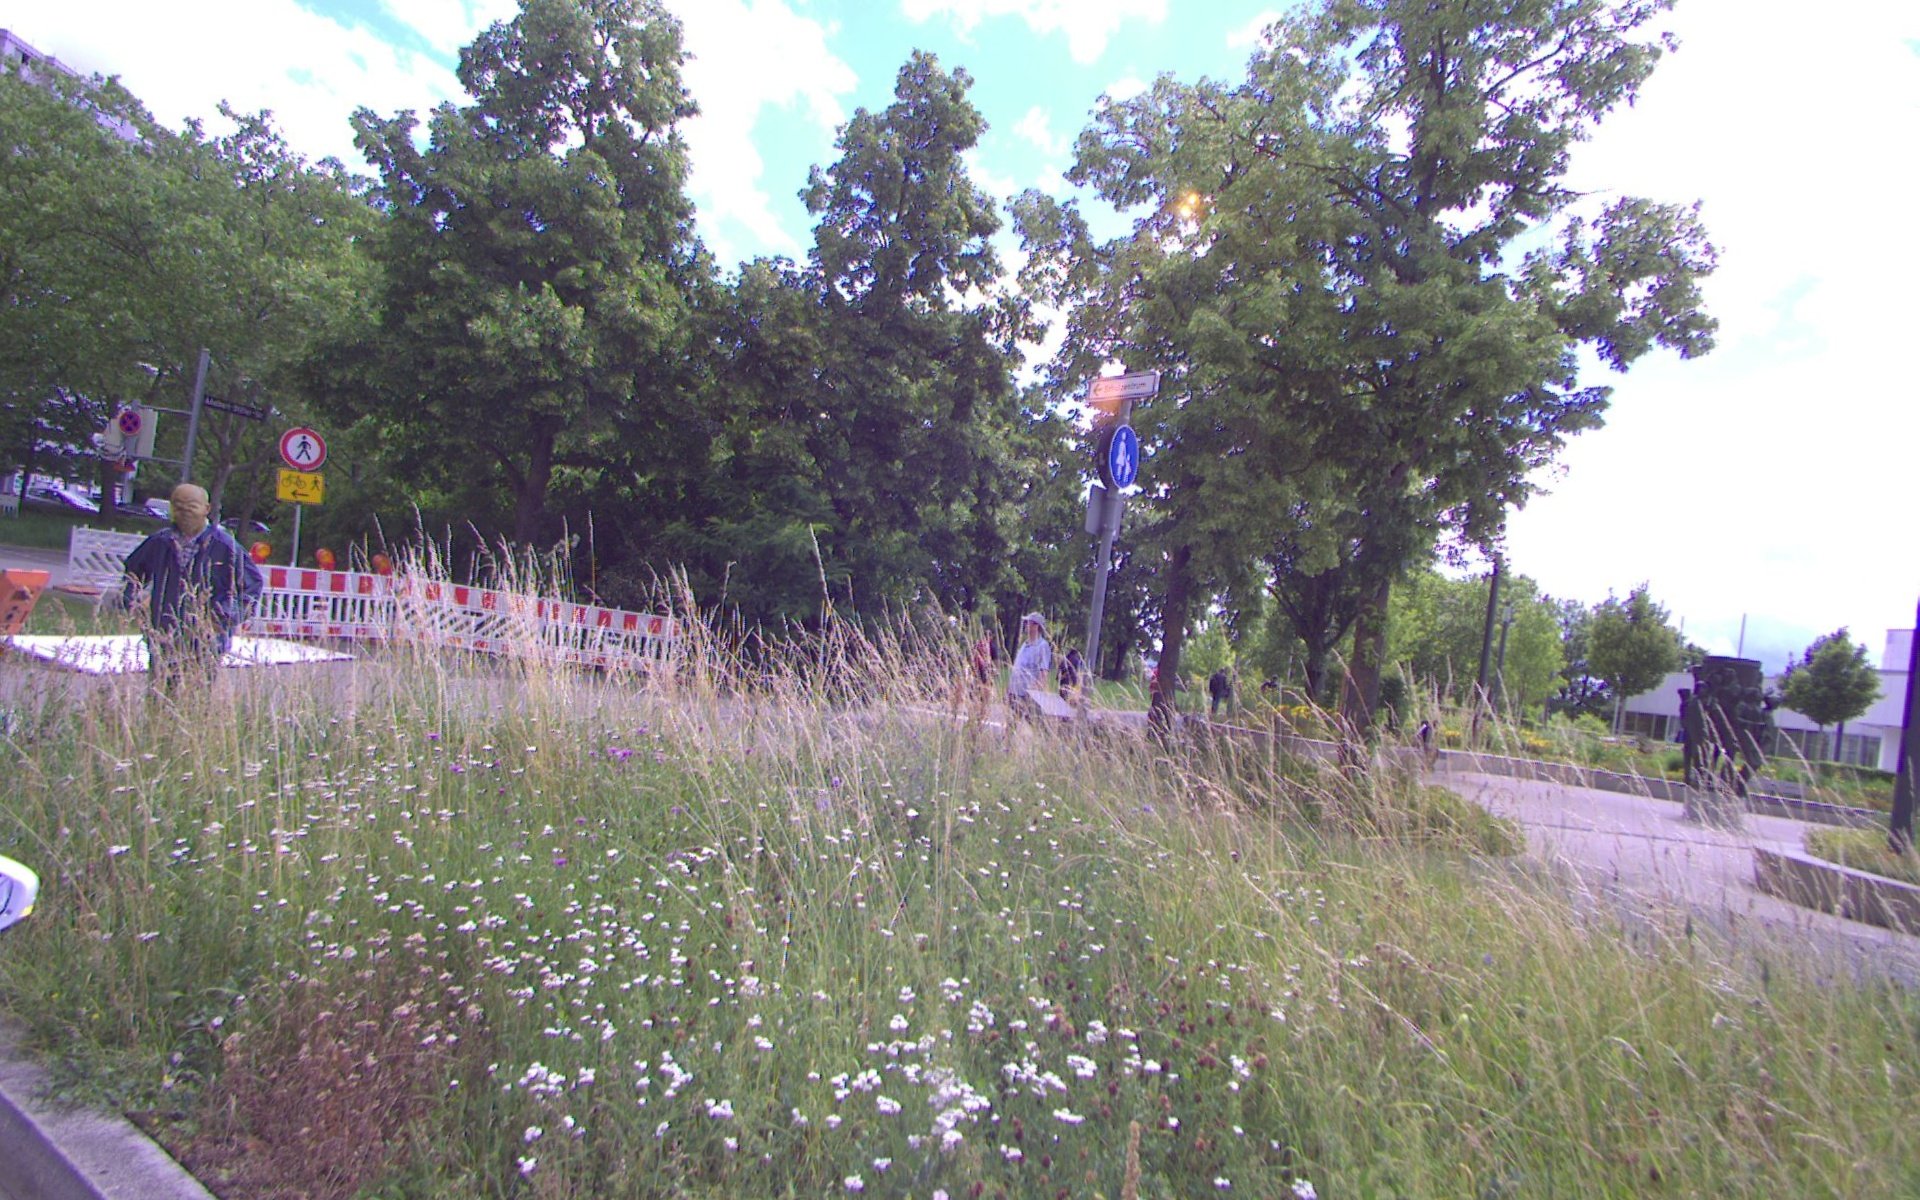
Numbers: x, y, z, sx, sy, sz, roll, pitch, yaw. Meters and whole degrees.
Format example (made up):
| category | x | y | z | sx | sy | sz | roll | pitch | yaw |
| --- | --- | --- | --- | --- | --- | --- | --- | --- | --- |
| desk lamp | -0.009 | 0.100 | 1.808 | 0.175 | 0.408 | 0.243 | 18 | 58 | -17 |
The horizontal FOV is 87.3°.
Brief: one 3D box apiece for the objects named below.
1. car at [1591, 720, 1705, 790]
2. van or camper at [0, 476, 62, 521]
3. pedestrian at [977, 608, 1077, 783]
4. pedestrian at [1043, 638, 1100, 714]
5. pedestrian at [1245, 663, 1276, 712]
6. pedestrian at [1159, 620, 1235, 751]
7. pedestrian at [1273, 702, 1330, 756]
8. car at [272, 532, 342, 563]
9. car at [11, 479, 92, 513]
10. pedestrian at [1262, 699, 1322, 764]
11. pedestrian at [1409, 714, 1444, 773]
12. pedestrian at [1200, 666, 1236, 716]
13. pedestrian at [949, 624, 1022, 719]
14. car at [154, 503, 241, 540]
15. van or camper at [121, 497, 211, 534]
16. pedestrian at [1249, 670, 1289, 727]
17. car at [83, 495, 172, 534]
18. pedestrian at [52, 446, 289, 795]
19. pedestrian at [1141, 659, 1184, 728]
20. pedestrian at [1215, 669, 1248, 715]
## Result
| category | x | y | z | sx | sy | sz | roll | pitch | yaw |
| --- | --- | --- | --- | --- | --- | --- | --- | --- | --- |
| car | 22.781 | 5.084 | 33.470 | 1.606 | 1.786 | 3.509 | 7 | -2 | 9 |
| van or camper | -44.309 | -4.841 | 46.498 | 3.925 | 1.704 | 1.847 | 8 | -1 | 4 |
| pedestrian | 0.731 | 1.040 | 11.183 | 0.683 | 1.812 | 0.726 | 8 | 0 | -16 |
| pedestrian | 2.706 | 1.828 | 24.355 | 0.974 | 1.671 | 0.871 | 7 | 0 | 21 |
| pedestrian | 13.364 | 3.883 | 44.741 | 1.026 | 2.037 | 1.099 | 8 | -1 | 19 |
| pedestrian | 3.318 | 1.187 | 14.079 | 0.685 | 1.715 | 0.651 | 7 | 0 | 28 |
| pedestrian | 7.070 | 2.668 | 20.830 | 0.703 | 0.959 | 0.747 | 8 | -1 | -21 |
| car | -45.225 | -3.651 | 69.698 | 3.674 | 1.517 | 1.736 | 7 | -2 | 5 |
| car | -54.442 | -6.243 | 60.327 | 3.345 | 1.420 | 1.486 | 7 | -2 | 1 |
| pedestrian | 5.183 | 2.035 | 15.701 | 0.685 | 0.874 | 0.651 | 7 | 0 | 28 |
| pedestrian | 10.759 | 3.293 | 23.181 | 0.560 | 1.277 | 0.582 | 7 | -1 | 29 |
| pedestrian | 9.447 | 3.334 | 36.841 | 0.974 | 1.671 | 0.871 | 7 | 0 | 21 |
| pedestrian | 0.492 | 1.367 | 19.377 | 0.974 | 1.671 | 0.871 | 7 | 0 | 21 |
| car | -44.636 | -4.591 | 58.897 | 3.820 | 1.482 | 1.486 | 7 | -1 | 1 |
| van or camper | -44.556 | -4.726 | 56.491 | 3.706 | 1.372 | 1.519 | 8 | -2 | -1 |
| pedestrian | 9.847 | 3.123 | 32.034 | 0.974 | 1.671 | 0.871 | 7 | 0 | 21 |
| car | -43.772 | -4.488 | 52.939 | 3.345 | 1.420 | 1.486 | 7 | -2 | 2 |
| pedestrian | -4.411 | 0.119 | 5.709 | 0.720 | 1.761 | 0.949 | 8 | -1 | -29 |
| pedestrian | 4.732 | 2.175 | 23.474 | 0.624 | 1.519 | 0.704 | 7 | 0 | 29 |
| pedestrian | 10.684 | 3.603 | 39.512 | 0.974 | 1.671 | 0.871 | 7 | 0 | 21 |
